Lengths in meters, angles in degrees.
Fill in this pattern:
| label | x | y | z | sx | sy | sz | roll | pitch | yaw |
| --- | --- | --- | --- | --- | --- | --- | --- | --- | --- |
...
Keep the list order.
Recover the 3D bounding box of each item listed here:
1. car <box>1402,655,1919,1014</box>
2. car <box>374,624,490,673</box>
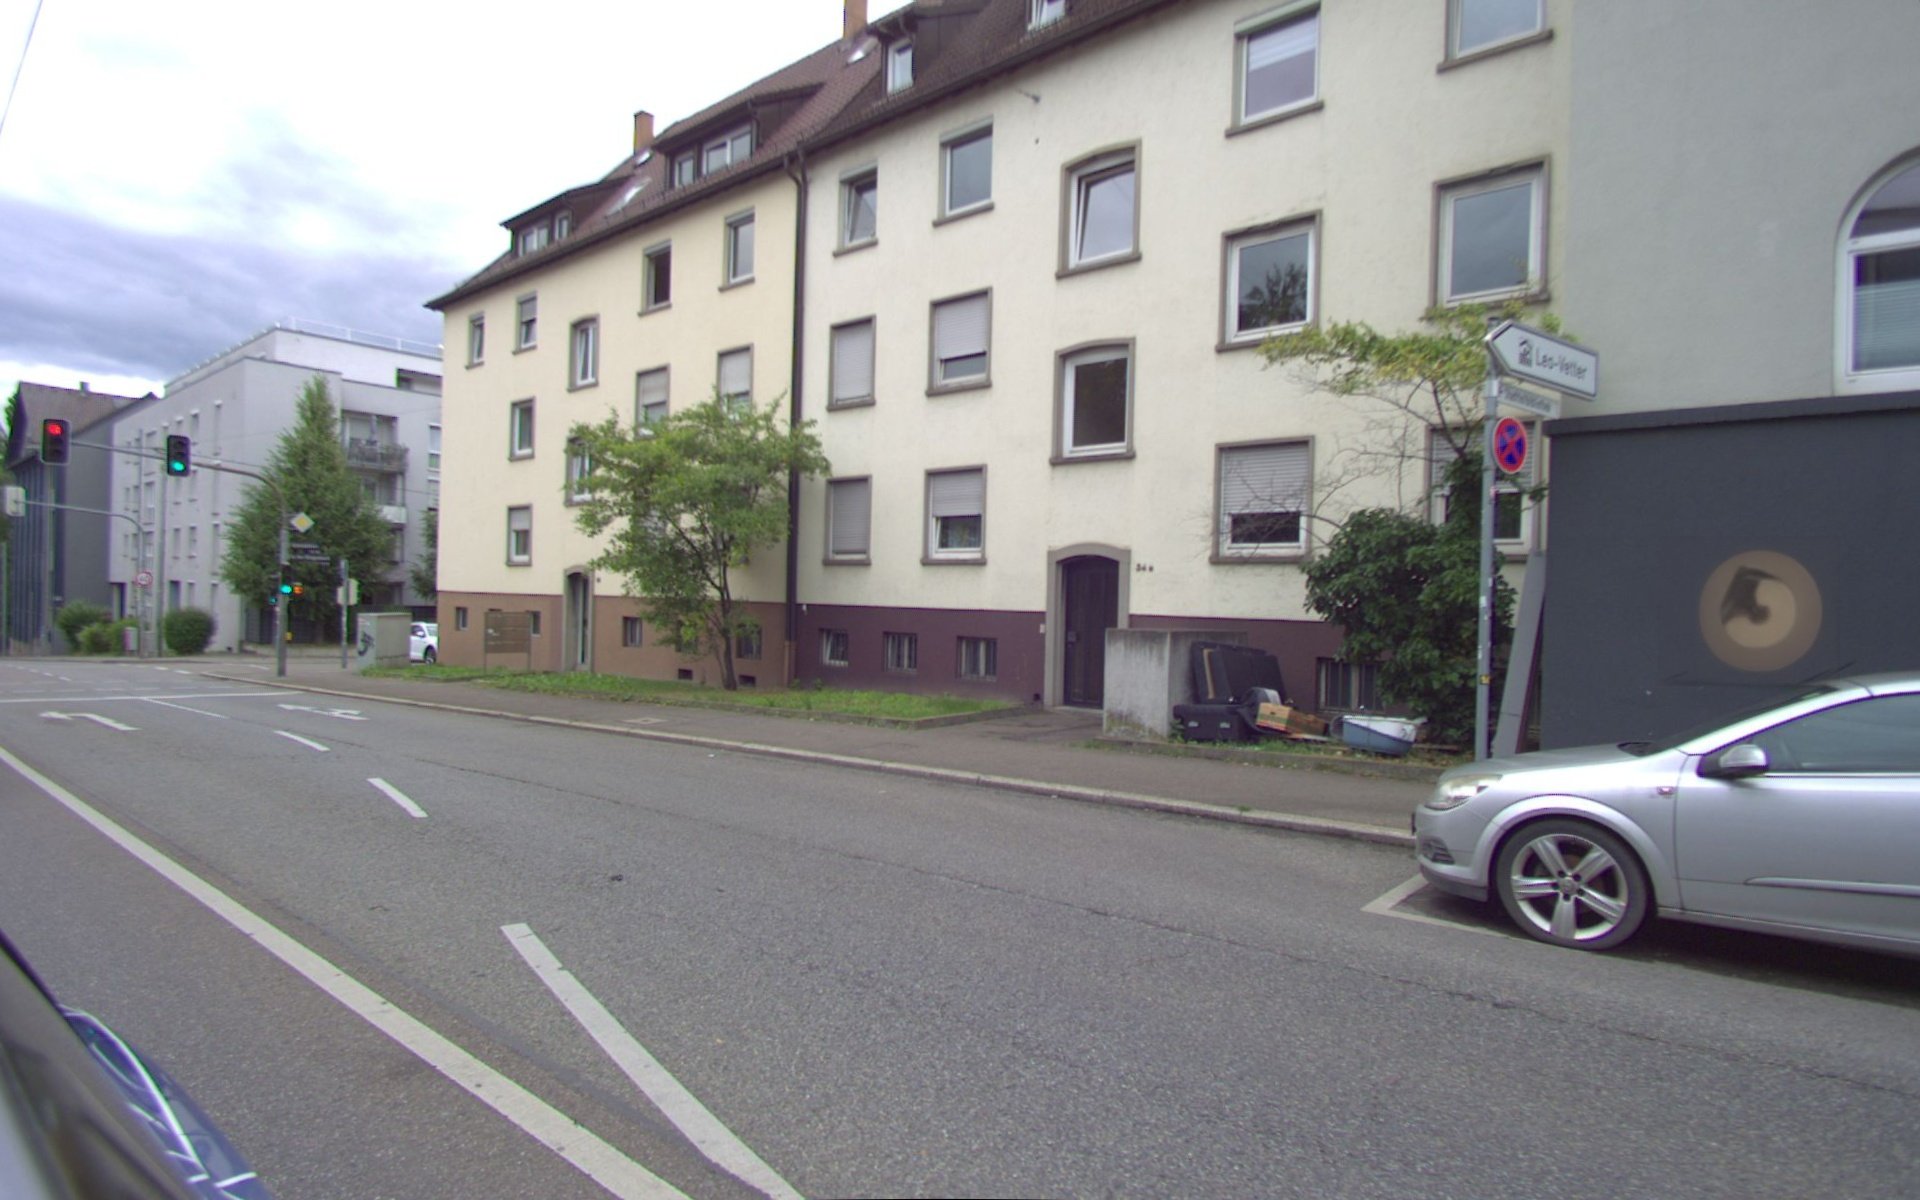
| label | x | y | z | sx | sy | sz | roll | pitch | yaw |
| --- | --- | --- | --- | --- | --- | --- | --- | --- | --- |
| car | 4.535 | 0.987 | 4.602 | 4.333 | 1.384 | 1.709 | -1 | -3 | 40 |
| car | -17.841 | 1.686 | 34.136 | 4.252 | 1.549 | 1.797 | -3 | -5 | 37 |
